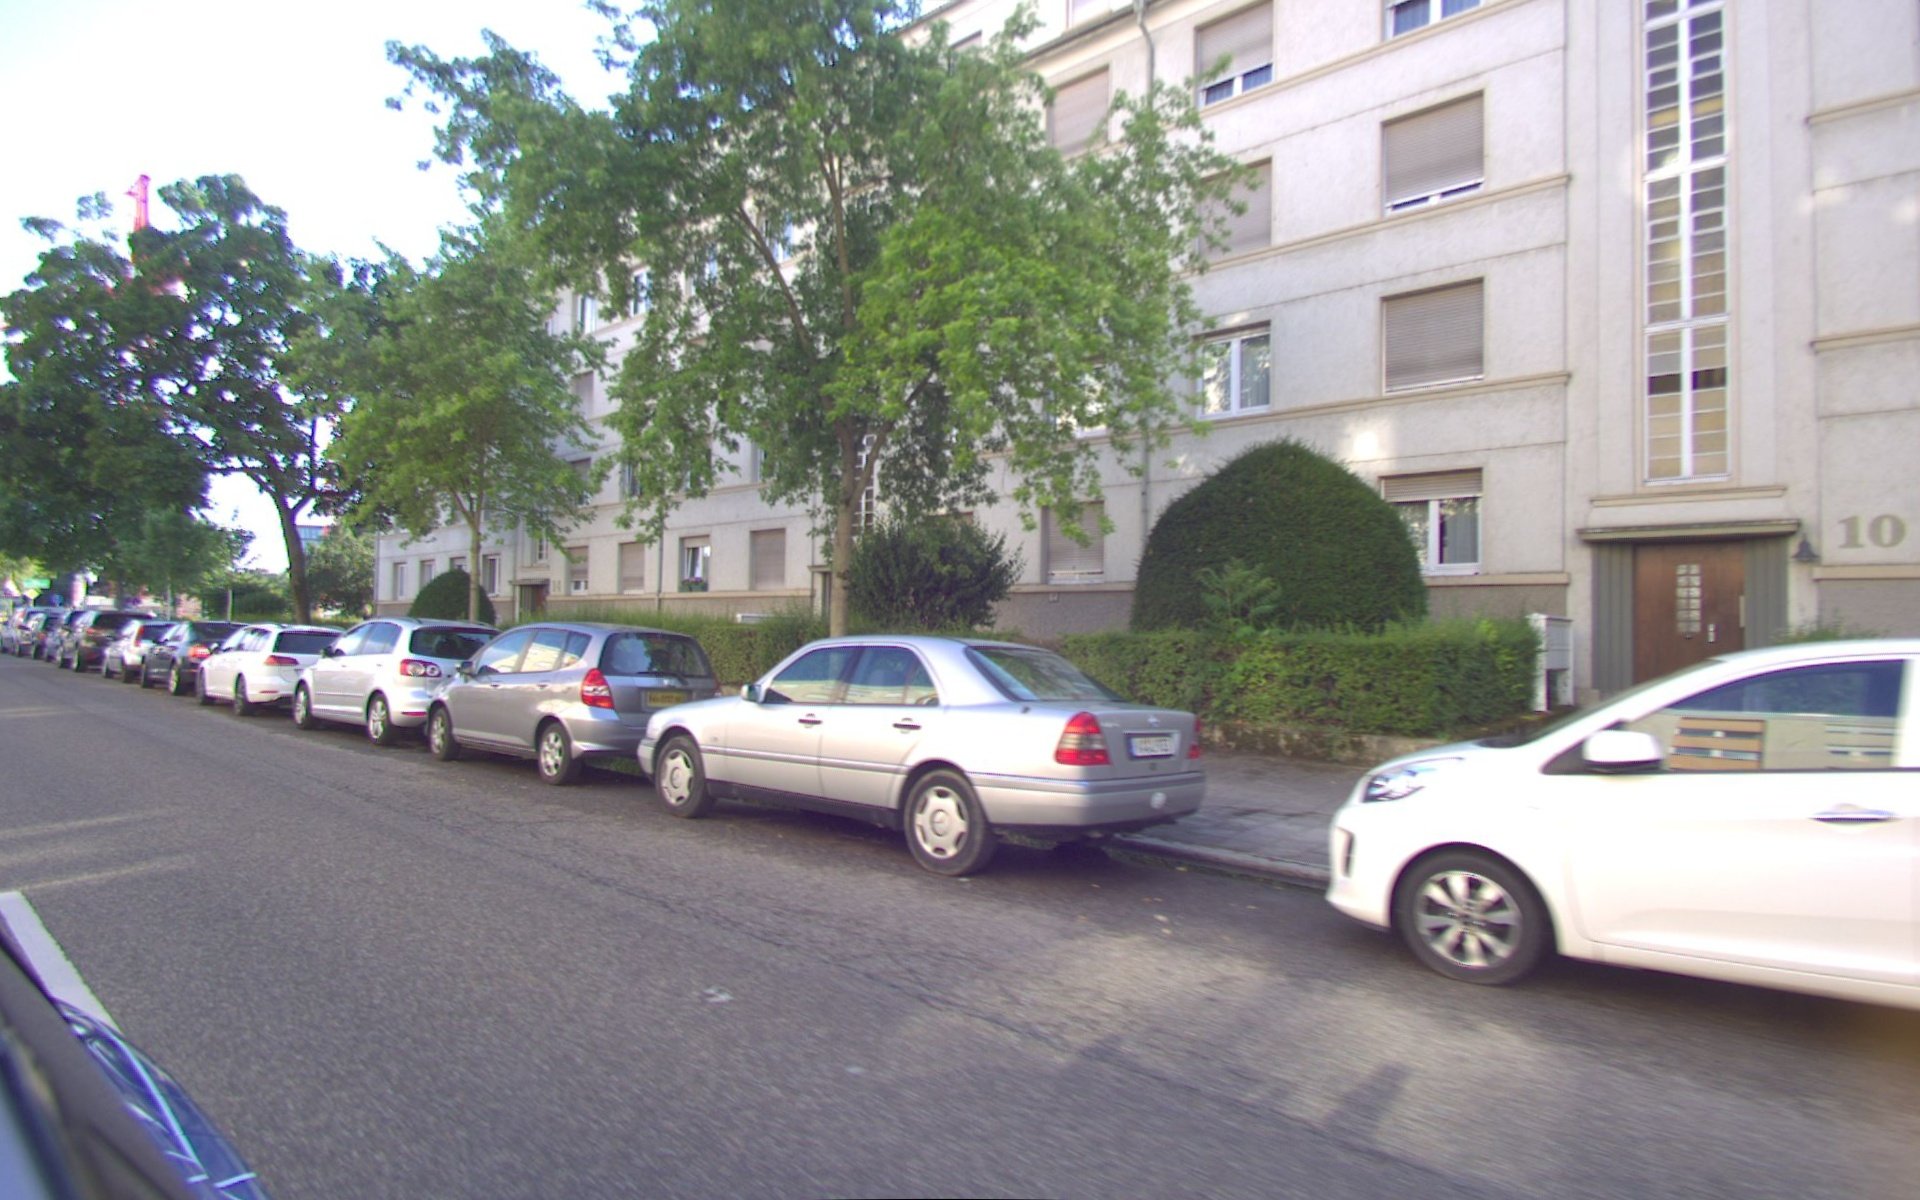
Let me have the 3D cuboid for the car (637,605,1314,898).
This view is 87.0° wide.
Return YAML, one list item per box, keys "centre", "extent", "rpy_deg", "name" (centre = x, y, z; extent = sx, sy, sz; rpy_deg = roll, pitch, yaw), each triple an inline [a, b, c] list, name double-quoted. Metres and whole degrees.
- centre: [-0.148, 0.743, 7.112]
  extent: [4.650, 1.365, 1.854]
  rpy_deg: [0, 1, 40]
  name: "car"

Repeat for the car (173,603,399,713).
- centre: [-11.407, 0.861, 17.013]
  extent: [4.468, 1.563, 1.984]
  rpy_deg: [0, 1, 40]
  name: "car"

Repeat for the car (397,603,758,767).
- centre: [-4.135, 0.735, 10.671]
  extent: [3.997, 1.365, 1.854]
  rpy_deg: [0, 1, 40]
  name: "car"

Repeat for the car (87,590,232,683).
- centre: [-19.194, 0.849, 24.210]
  extent: [3.999, 2.029, 1.972]
  rpy_deg: [0, -3, 42]
  name: "car"

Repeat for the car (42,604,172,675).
- centre: [-23.565, 1.041, 27.894]
  extent: [4.685, 1.772, 1.855]
  rpy_deg: [0, -3, 39]
  name: "car"

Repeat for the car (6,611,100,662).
- centre: [-31.408, 1.220, 35.005]
  extent: [3.996, 1.563, 1.855]
  rpy_deg: [0, 1, 40]
  name: "car"

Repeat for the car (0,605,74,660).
- centre: [-34.886, 1.190, 38.085]
  extent: [4.487, 1.911, 1.821]
  rpy_deg: [0, -1, 43]
  name: "car"

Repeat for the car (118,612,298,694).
- centre: [-15.526, 1.035, 20.809]
  extent: [4.800, 1.445, 1.854]
  rpy_deg: [0, -2, 40]
  name: "car"

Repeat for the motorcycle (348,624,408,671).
- centre: [-14.984, 1.211, 26.054]
  extent: [1.248, 1.187, 0.575]
  rpy_deg: [0, 0, 6]
  name: "motorcycle"

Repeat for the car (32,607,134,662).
- centre: [-27.908, 1.040, 32.163]
  extent: [3.997, 1.563, 1.854]
  rpy_deg: [0, 1, 40]
  name: "car"

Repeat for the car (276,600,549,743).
- centre: [-7.450, 0.825, 13.625]
  extent: [3.997, 1.563, 1.855]
  rpy_deg: [0, 2, 40]
  name: "car"

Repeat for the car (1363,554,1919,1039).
- centre: [3.549, 0.667, 4.084]
  extent: [3.255, 1.586, 1.691]
  rpy_deg: [0, -2, 37]
  name: "car"
